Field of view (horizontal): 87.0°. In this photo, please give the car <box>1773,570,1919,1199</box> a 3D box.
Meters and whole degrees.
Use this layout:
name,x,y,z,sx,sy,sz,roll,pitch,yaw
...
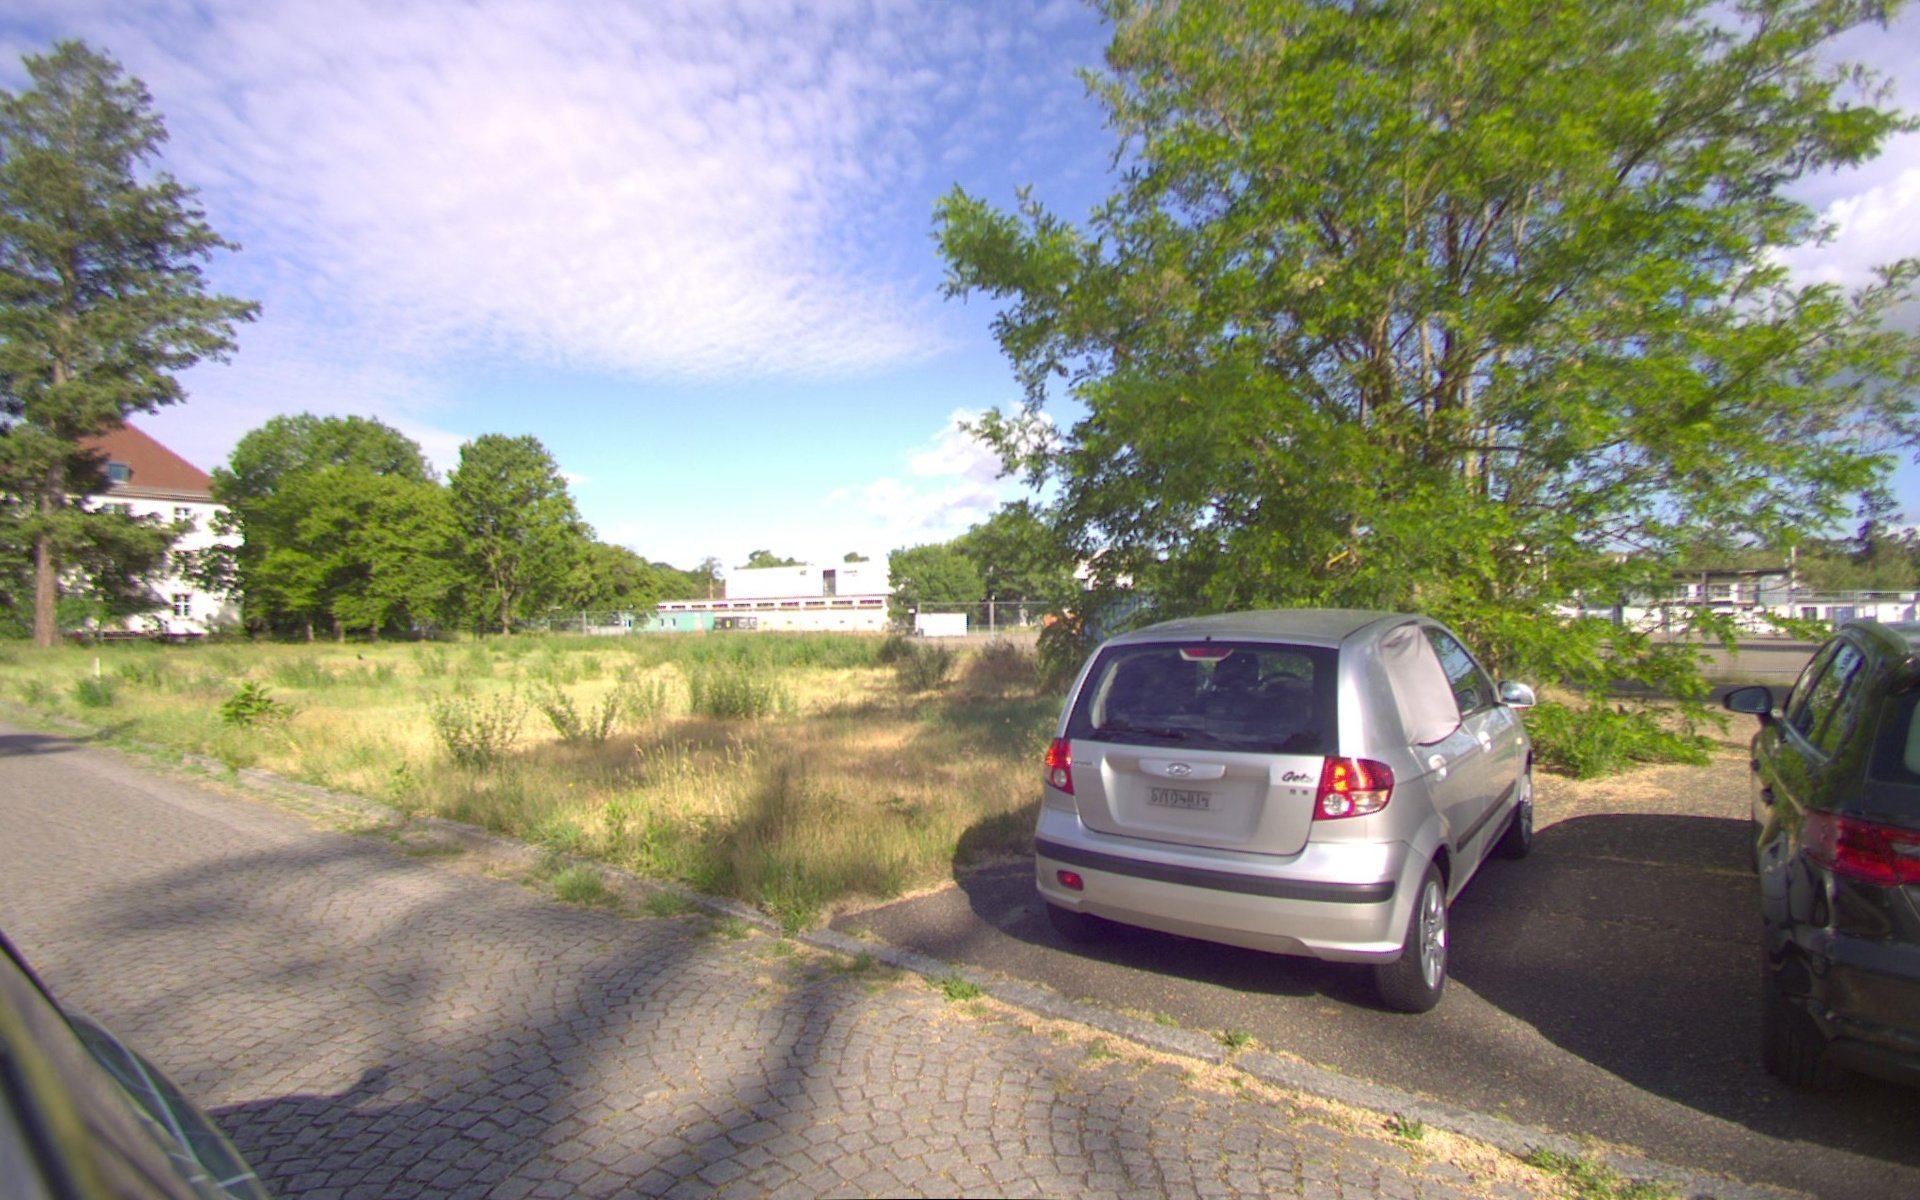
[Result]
name,x,y,z,sx,sy,sz,roll,pitch,yaw
car,3.961,0.651,3.510,1.685,1.482,3.761,-1,1,38

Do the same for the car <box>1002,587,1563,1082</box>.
name,x,y,z,sx,sy,sz,roll,pitch,yaw
car,1.868,0.747,5.090,1.634,1.482,3.433,-2,1,37
